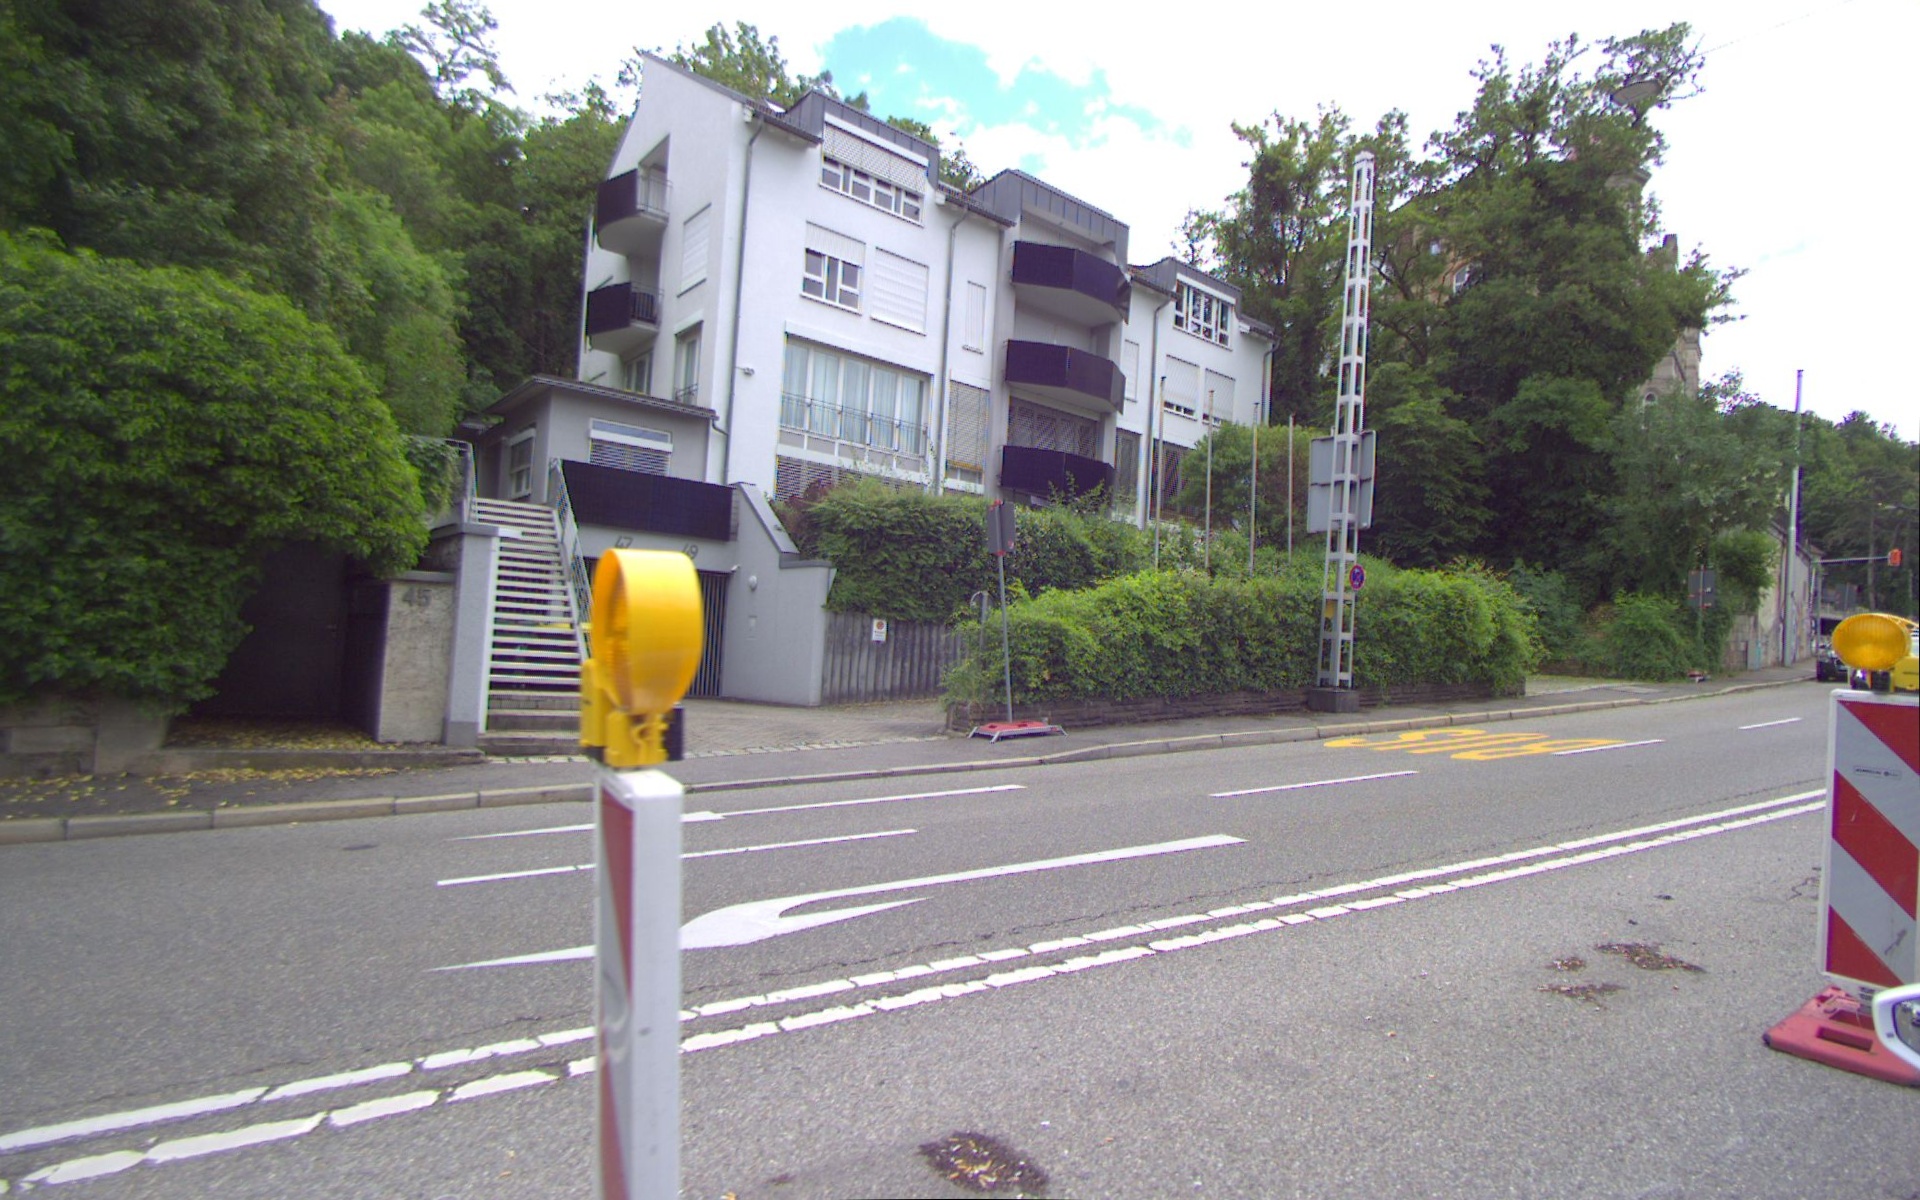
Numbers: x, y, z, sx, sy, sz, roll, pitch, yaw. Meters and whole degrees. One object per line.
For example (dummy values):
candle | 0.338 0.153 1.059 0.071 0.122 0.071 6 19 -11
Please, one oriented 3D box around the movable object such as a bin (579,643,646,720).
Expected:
movable object such as a bin | -5.228 1.197 15.089 0.793 1.104 1.101 1 -3 -27

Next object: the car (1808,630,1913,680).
car | 26.939 1.605 30.001 4.353 1.391 1.784 1 -2 -41

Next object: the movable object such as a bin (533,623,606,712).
movable object such as a bin | -6.353 1.080 16.322 0.995 1.390 0.991 1 -3 -27

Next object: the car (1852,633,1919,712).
car | 18.772 1.340 19.280 4.401 1.409 1.806 2 -3 -40

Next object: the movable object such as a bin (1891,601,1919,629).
movable object such as a bin | 96.327 1.580 101.715 4.902 2.698 2.194 2 1 -39
